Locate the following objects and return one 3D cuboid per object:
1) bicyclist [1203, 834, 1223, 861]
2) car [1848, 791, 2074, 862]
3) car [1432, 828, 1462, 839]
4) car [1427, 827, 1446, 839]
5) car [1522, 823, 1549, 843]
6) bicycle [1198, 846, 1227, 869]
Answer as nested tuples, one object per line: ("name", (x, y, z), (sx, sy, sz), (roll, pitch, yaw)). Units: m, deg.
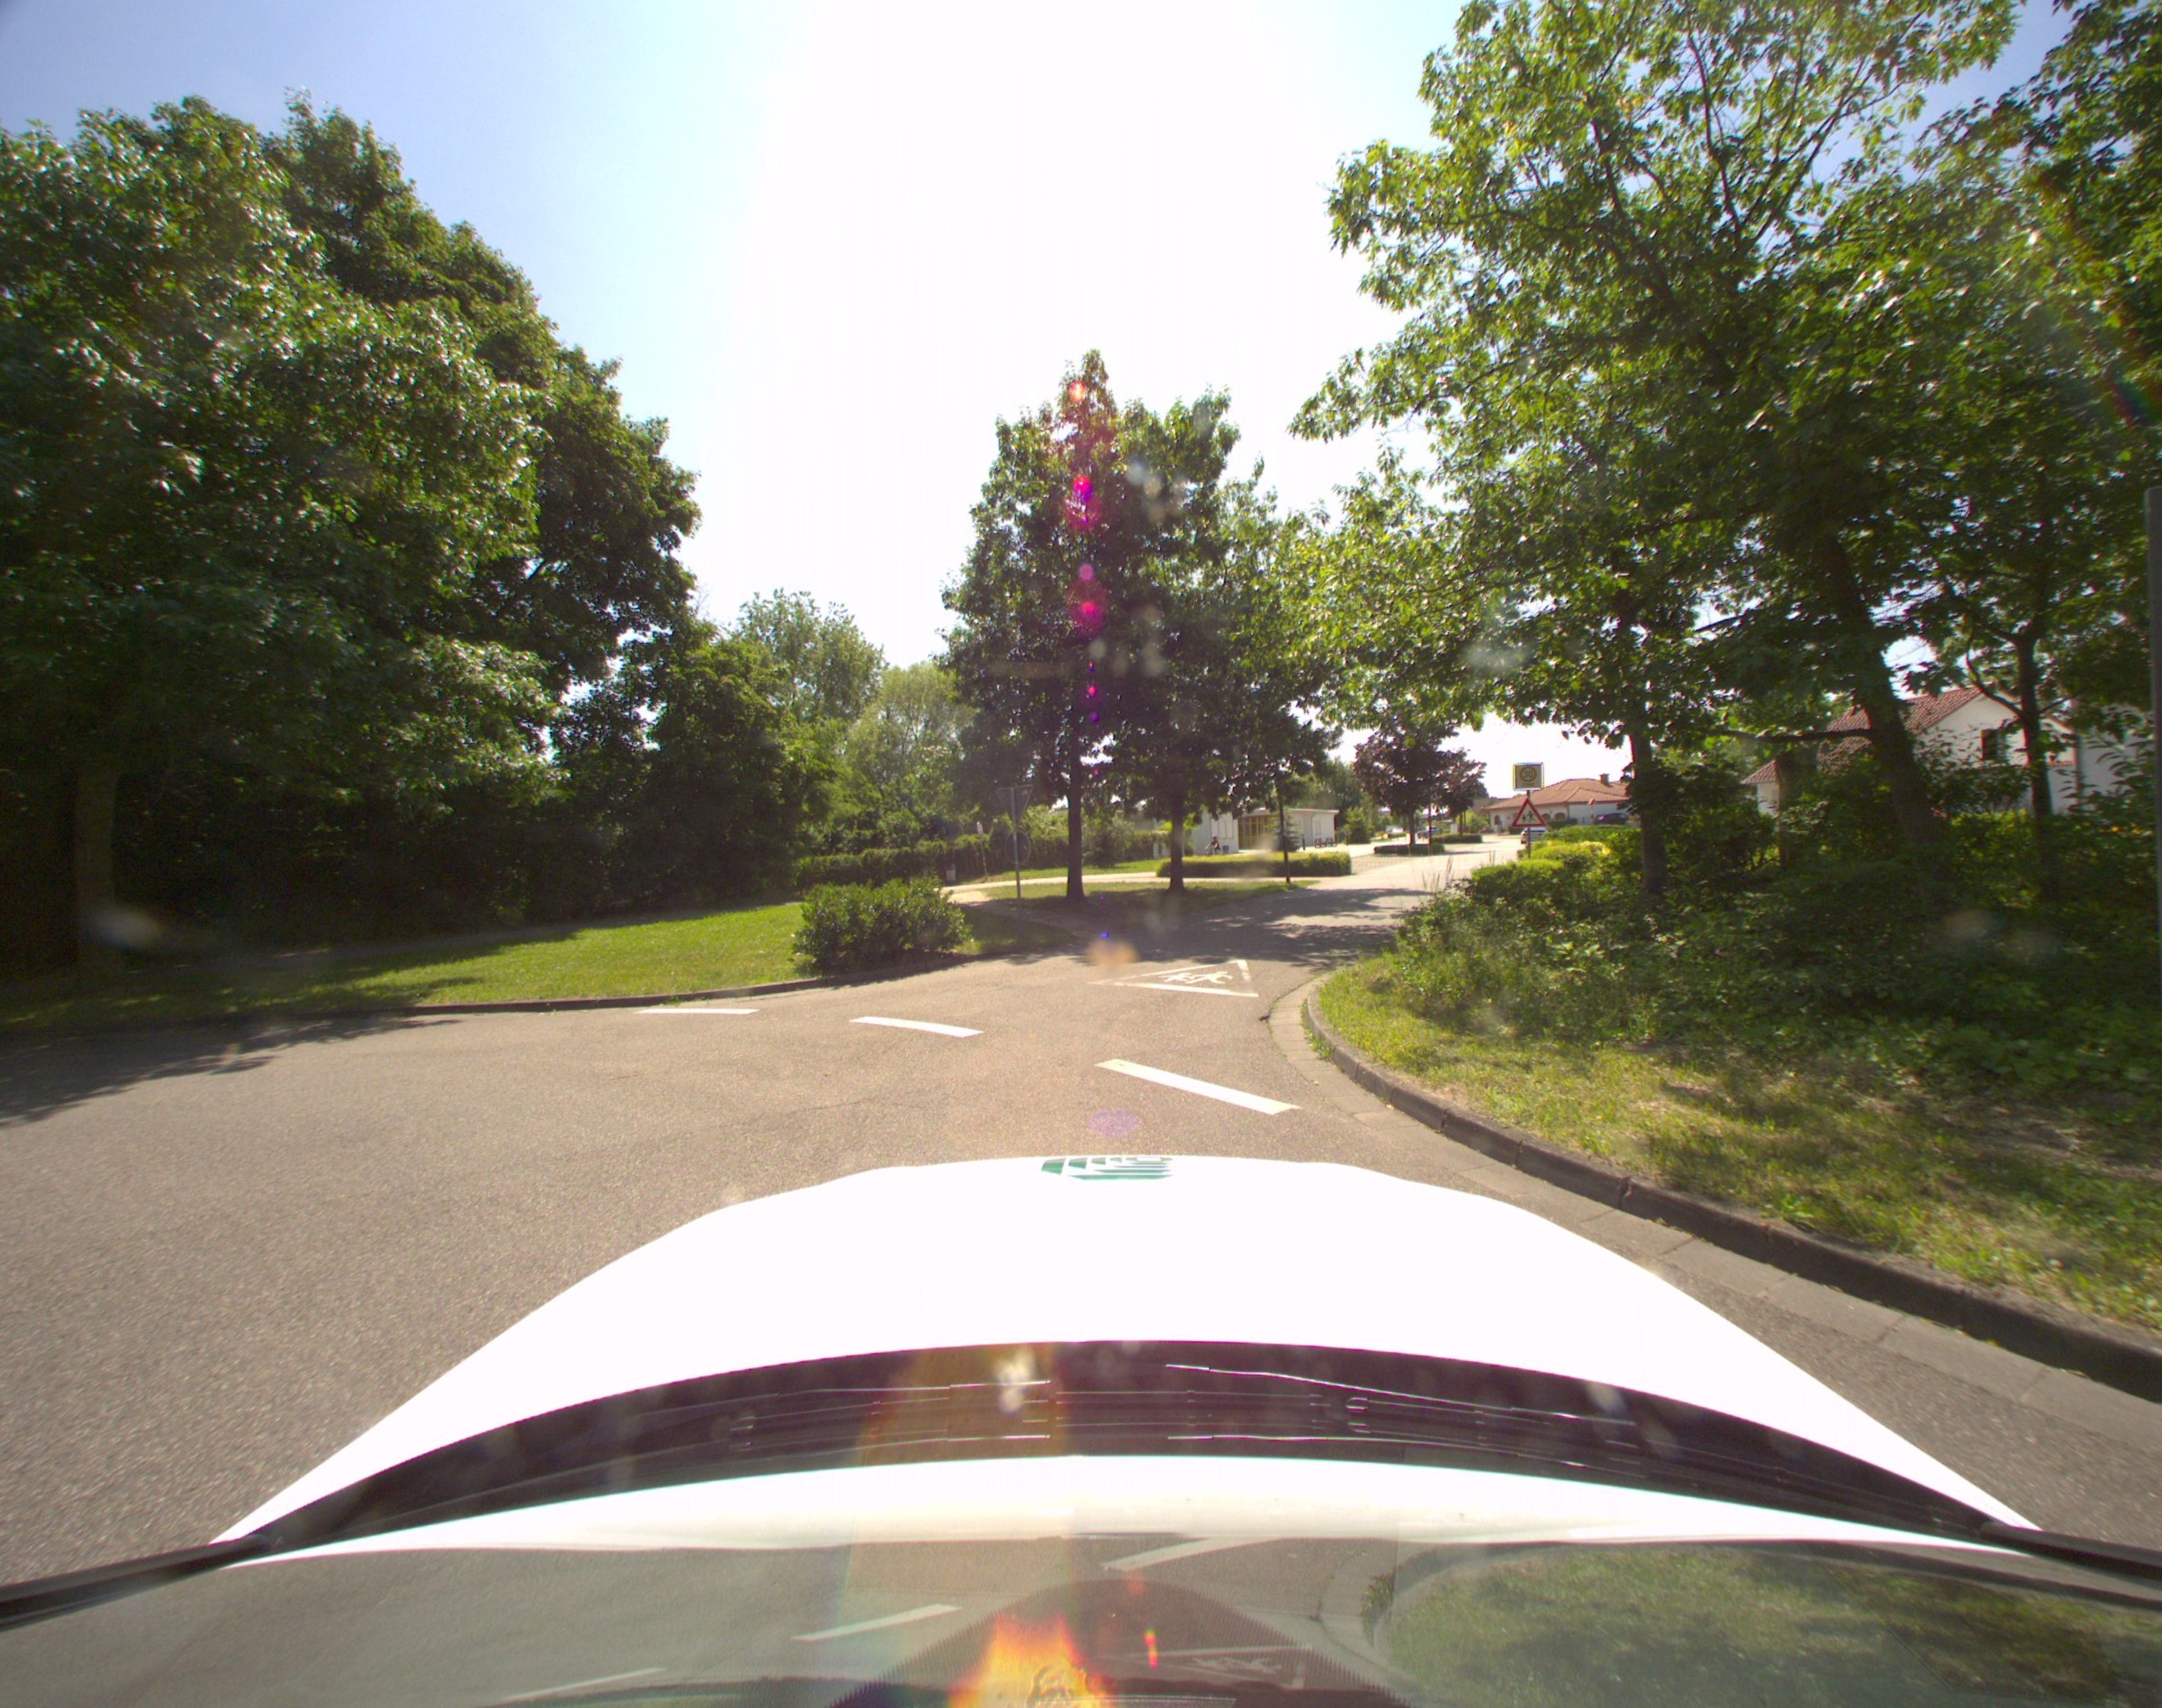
("bicyclist", (5.934, -0.310, 36.602), (0.591, 1.164, 0.653), (-2, 1, 35))
("car", (22.587, -0.674, 21.171), (1.653, 1.601, 4.031), (-2, 1, 4))
("car", (45.380, -2.521, 101.028), (1.985, 1.288, 4.003), (-2, 1, 2))
("car", (41.228, -2.404, 94.548), (1.602, 1.288, 3.573), (-2, 1, 16))
("car", (32.098, -1.490, 57.539), (1.599, 1.288, 3.579), (-2, 1, 29))
("bicycle", (5.919, 0.151, 36.544), (0.591, 0.929, 1.631), (-2, 1, 35))
